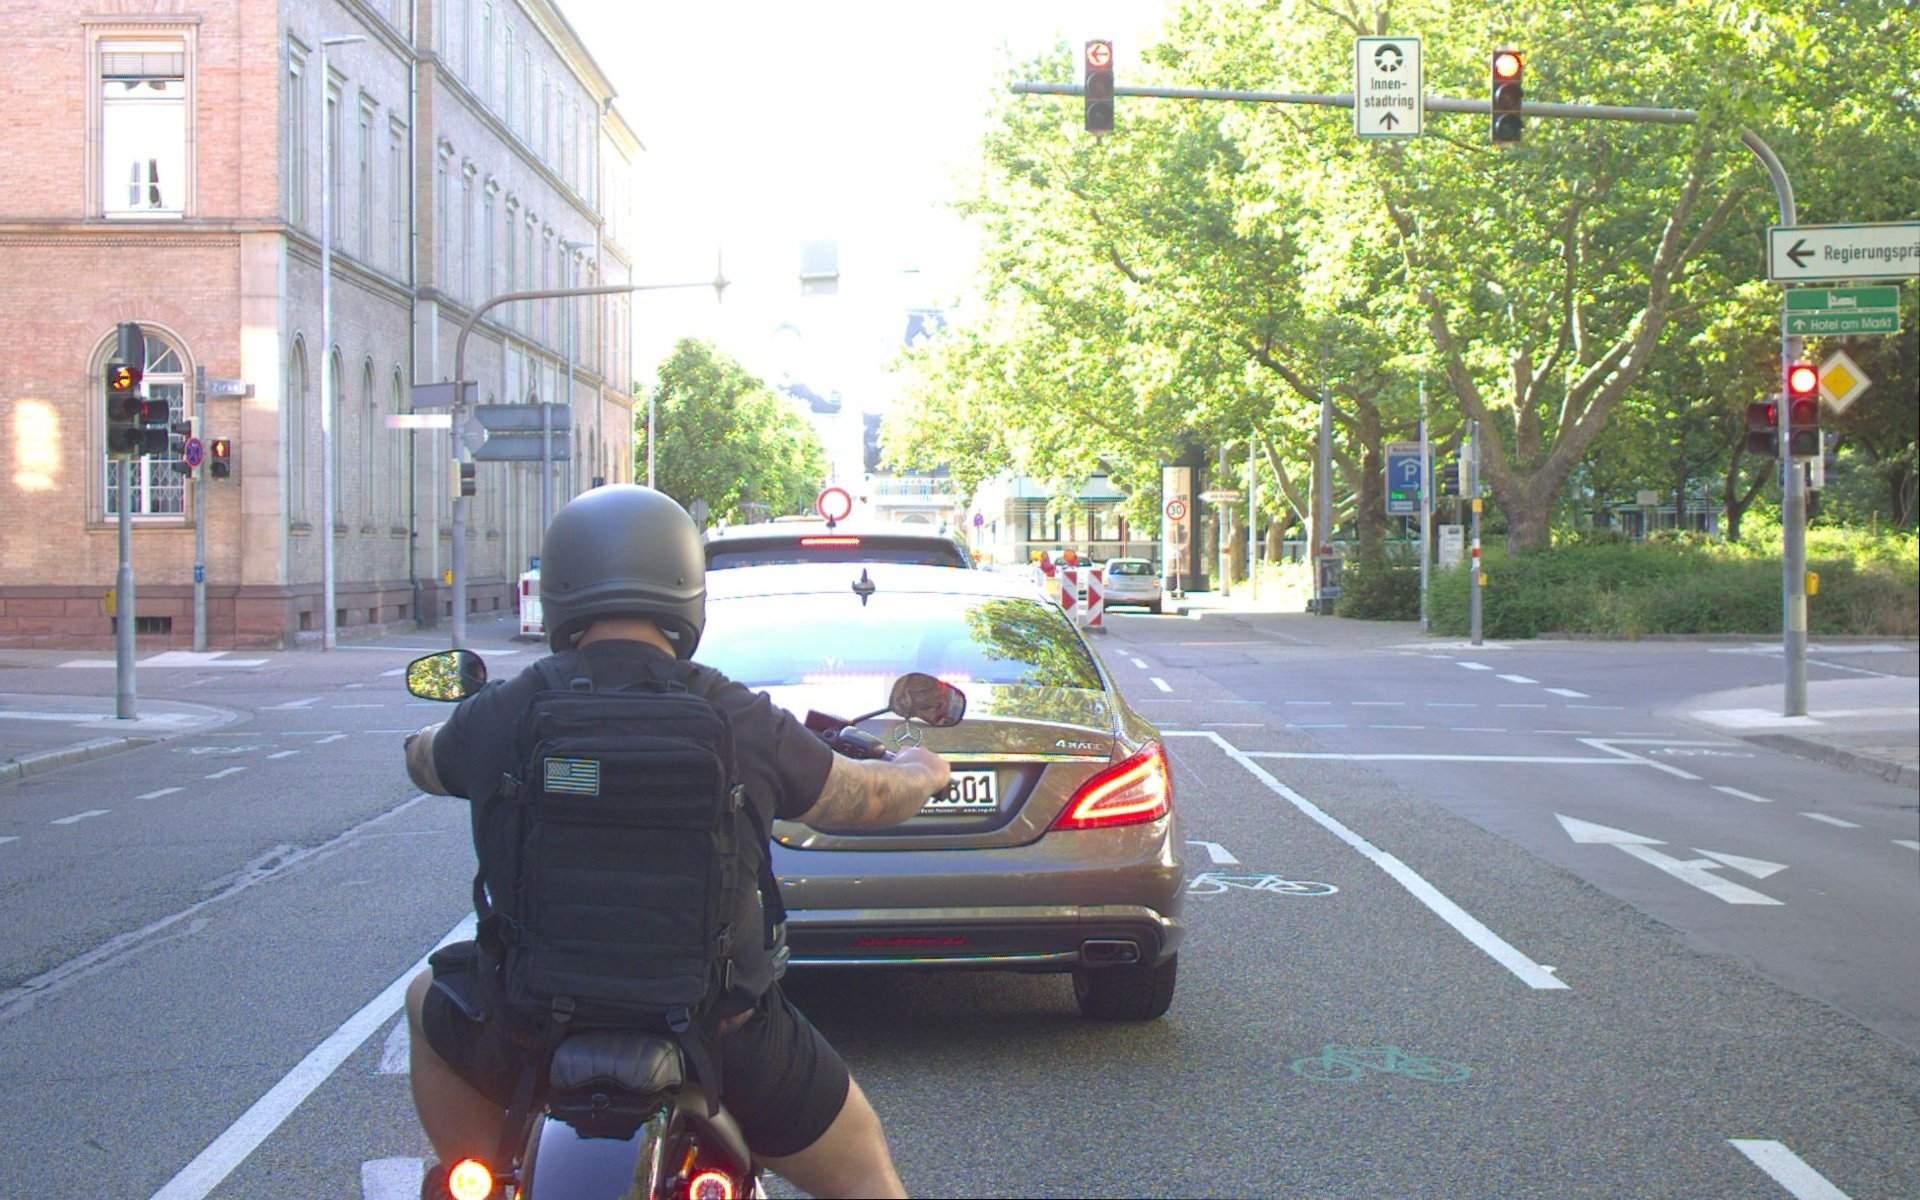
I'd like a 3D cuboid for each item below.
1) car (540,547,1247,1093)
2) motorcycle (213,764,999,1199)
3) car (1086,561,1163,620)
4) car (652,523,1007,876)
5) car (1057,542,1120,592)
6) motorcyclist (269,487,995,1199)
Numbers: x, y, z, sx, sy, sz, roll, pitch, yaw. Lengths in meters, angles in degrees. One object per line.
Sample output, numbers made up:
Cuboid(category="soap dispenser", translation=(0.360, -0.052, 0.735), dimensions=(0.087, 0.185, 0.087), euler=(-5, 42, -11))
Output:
Cuboid(category="car", translation=(-0.434, 0.561, 11.598), dimensions=(1.945, 1.468, 4.363), euler=(0, 1, -7))
Cuboid(category="motorcycle", translation=(-0.459, 0.883, 5.563), dimensions=(0.989, 1.075, 2.452), euler=(0, 1, -1))
Cuboid(category="car", translation=(4.319, -0.278, 90.770), dimensions=(1.821, 1.475, 3.908), euler=(-1, 1, 0))
Cuboid(category="car", translation=(-0.640, 0.411, 17.764), dimensions=(1.612, 1.602, 4.329), euler=(0, 1, -1))
Cuboid(category="car", translation=(3.975, -1.029, 106.740), dimensions=(1.856, 1.481, 3.908), euler=(1, 1, 1))
Cuboid(category="motorcyclist", translation=(-0.455, 0.628, 5.404), dimensions=(0.989, 1.591, 1.404), euler=(0, 1, -1))
